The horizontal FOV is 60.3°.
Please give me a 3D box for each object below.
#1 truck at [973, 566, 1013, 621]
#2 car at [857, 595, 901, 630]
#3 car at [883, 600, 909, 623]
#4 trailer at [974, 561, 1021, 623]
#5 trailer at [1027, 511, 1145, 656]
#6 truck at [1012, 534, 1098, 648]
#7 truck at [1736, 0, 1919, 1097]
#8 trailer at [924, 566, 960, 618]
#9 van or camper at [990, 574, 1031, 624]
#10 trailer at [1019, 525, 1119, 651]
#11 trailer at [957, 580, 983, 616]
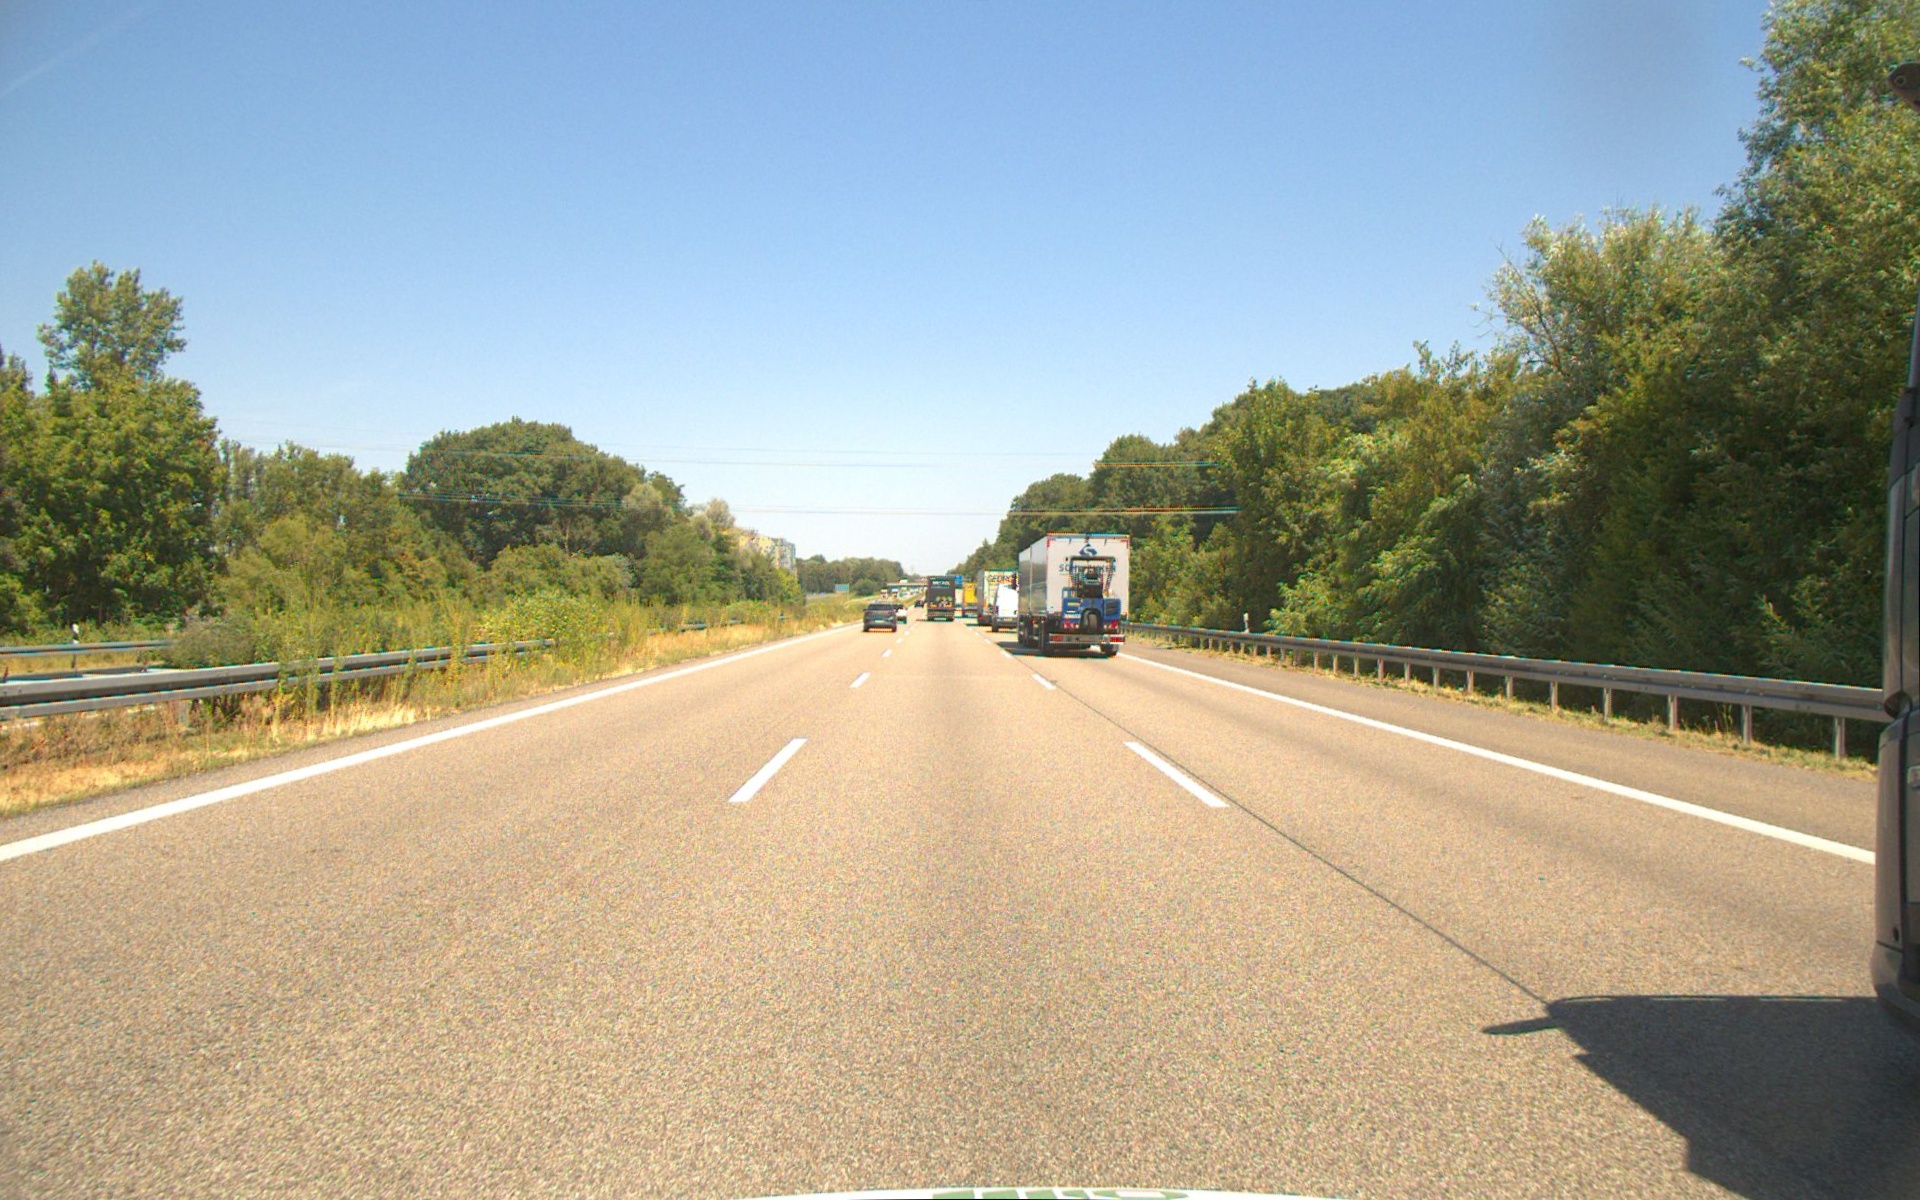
[{"bbox_3d":[2.596,-0.489,130.754,2.941,4.197,5.251,0,0,-1],"label":"truck"},{"bbox_3d":[-4.357,0.633,89.629,2.171,1.821,5.392,0,0,-1],"label":"car"},{"bbox_3d":[-4.960,0.855,129.206,1.953,1.758,4.129,0,0,-2],"label":"car"},{"bbox_3d":[2.697,-0.560,123.893,2.933,4.364,13.415,1,0,-1],"label":"trailer"},{"bbox_3d":[3.816,-0.465,51.882,2.885,4.134,8.126,1,0,-1],"label":"trailer"},{"bbox_3d":[3.586,-0.308,63.854,2.830,4.101,6.868,1,0,-1],"label":"truck"},{"bbox_3d":[4.152,-0.523,2.840,2.501,4.024,6.512,0,0,-1],"label":"truck"},{"bbox_3d":[-1.755,-0.670,154.272,3.043,4.585,14.891,1,0,-1],"label":"trailer"},{"bbox_3d":[2.854,-0.053,94.503,1.981,2.683,6.485,1,0,-1],"label":"van or camper"},{"bbox_3d":[3.724,-0.377,58.297,2.860,4.112,7.315,1,0,-1],"label":"trailer"},{"bbox_3d":[1.103,-0.264,191.468,2.777,4.023,11.681,0,0,-1],"label":"trailer"}]
